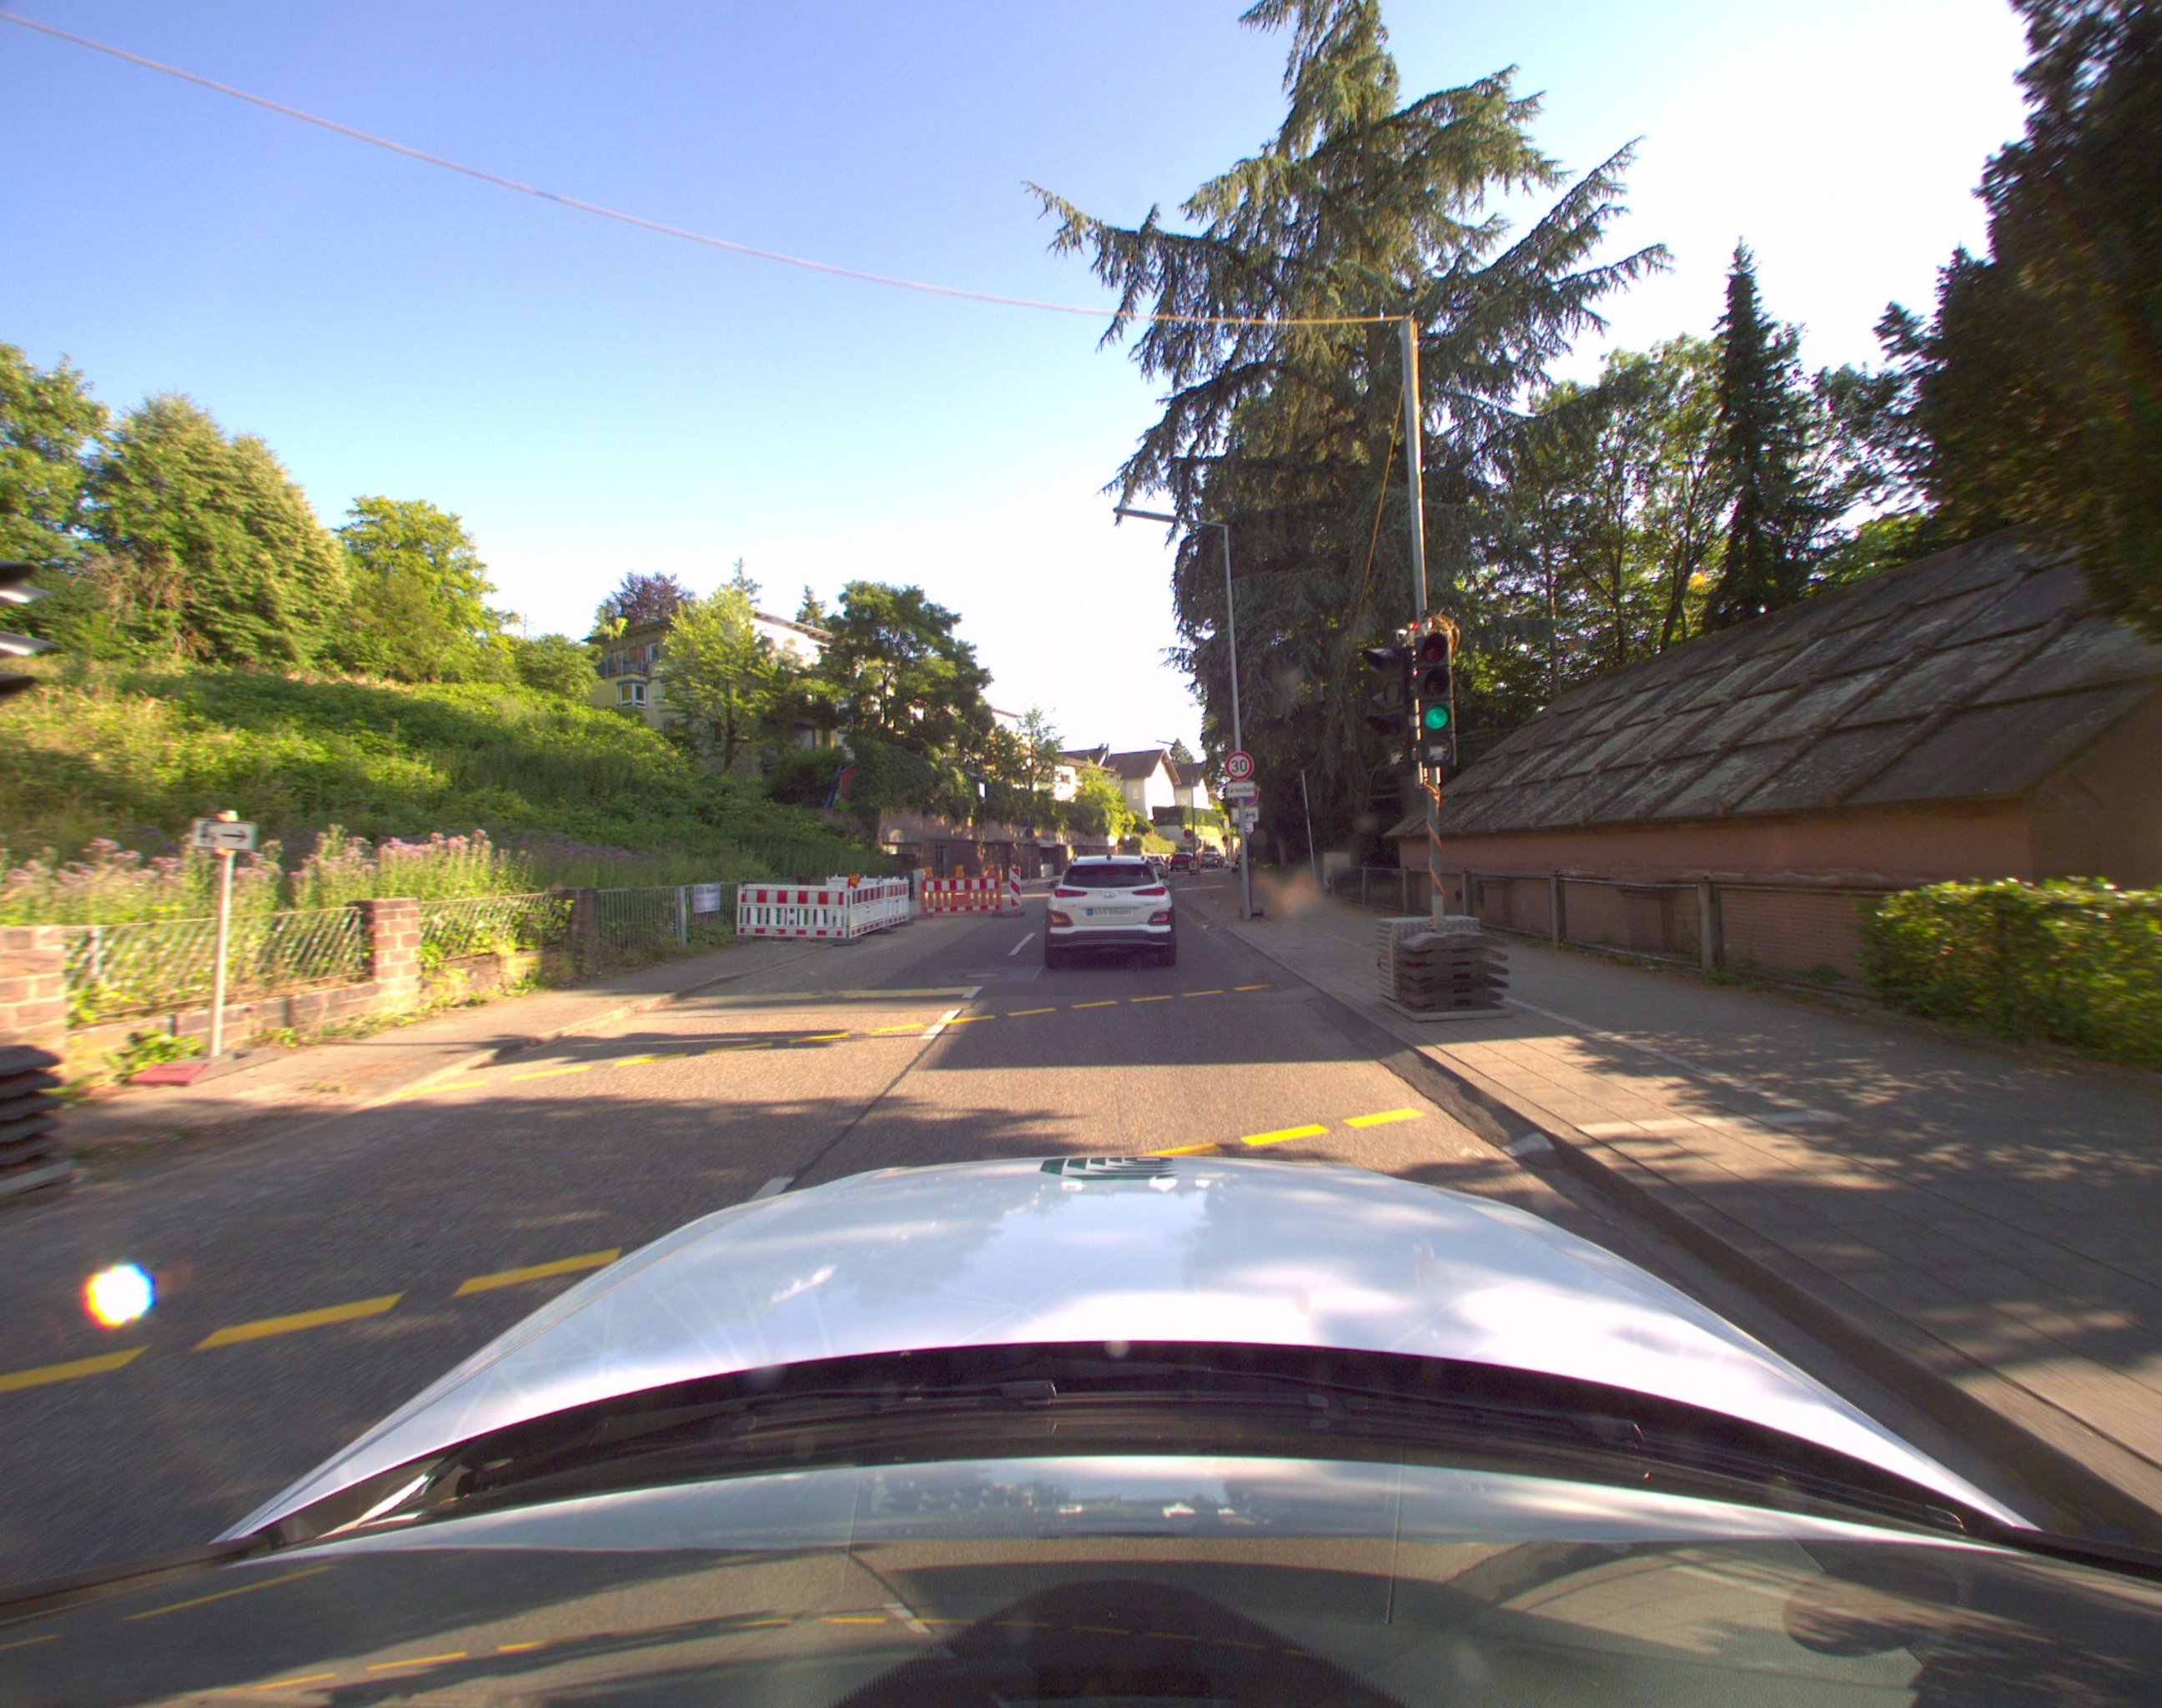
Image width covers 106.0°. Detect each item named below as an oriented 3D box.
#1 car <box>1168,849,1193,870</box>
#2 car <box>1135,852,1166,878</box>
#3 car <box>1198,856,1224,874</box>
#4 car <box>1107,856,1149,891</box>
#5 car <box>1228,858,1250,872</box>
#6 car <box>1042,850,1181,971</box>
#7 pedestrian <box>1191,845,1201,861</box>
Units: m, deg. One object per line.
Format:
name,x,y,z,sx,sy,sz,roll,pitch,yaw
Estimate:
car,8.442,0.446,68.861,1.820,1.662,4.012,0,0,11
car,4.330,0.673,51.353,1.798,1.537,4.003,0,0,3
car,13.155,1.078,82.399,1.816,1.741,4.020,-3,-1,19
car,1.987,0.790,35.497,1.701,1.434,4.366,0,0,2
car,19.111,1.332,98.627,1.815,1.662,4.022,0,0,23
car,0.331,0.737,12.660,1.816,1.574,3.996,0,0,-2
pedestrian,13.897,-0.064,98.485,1.071,1.912,0.844,-1,-1,18
